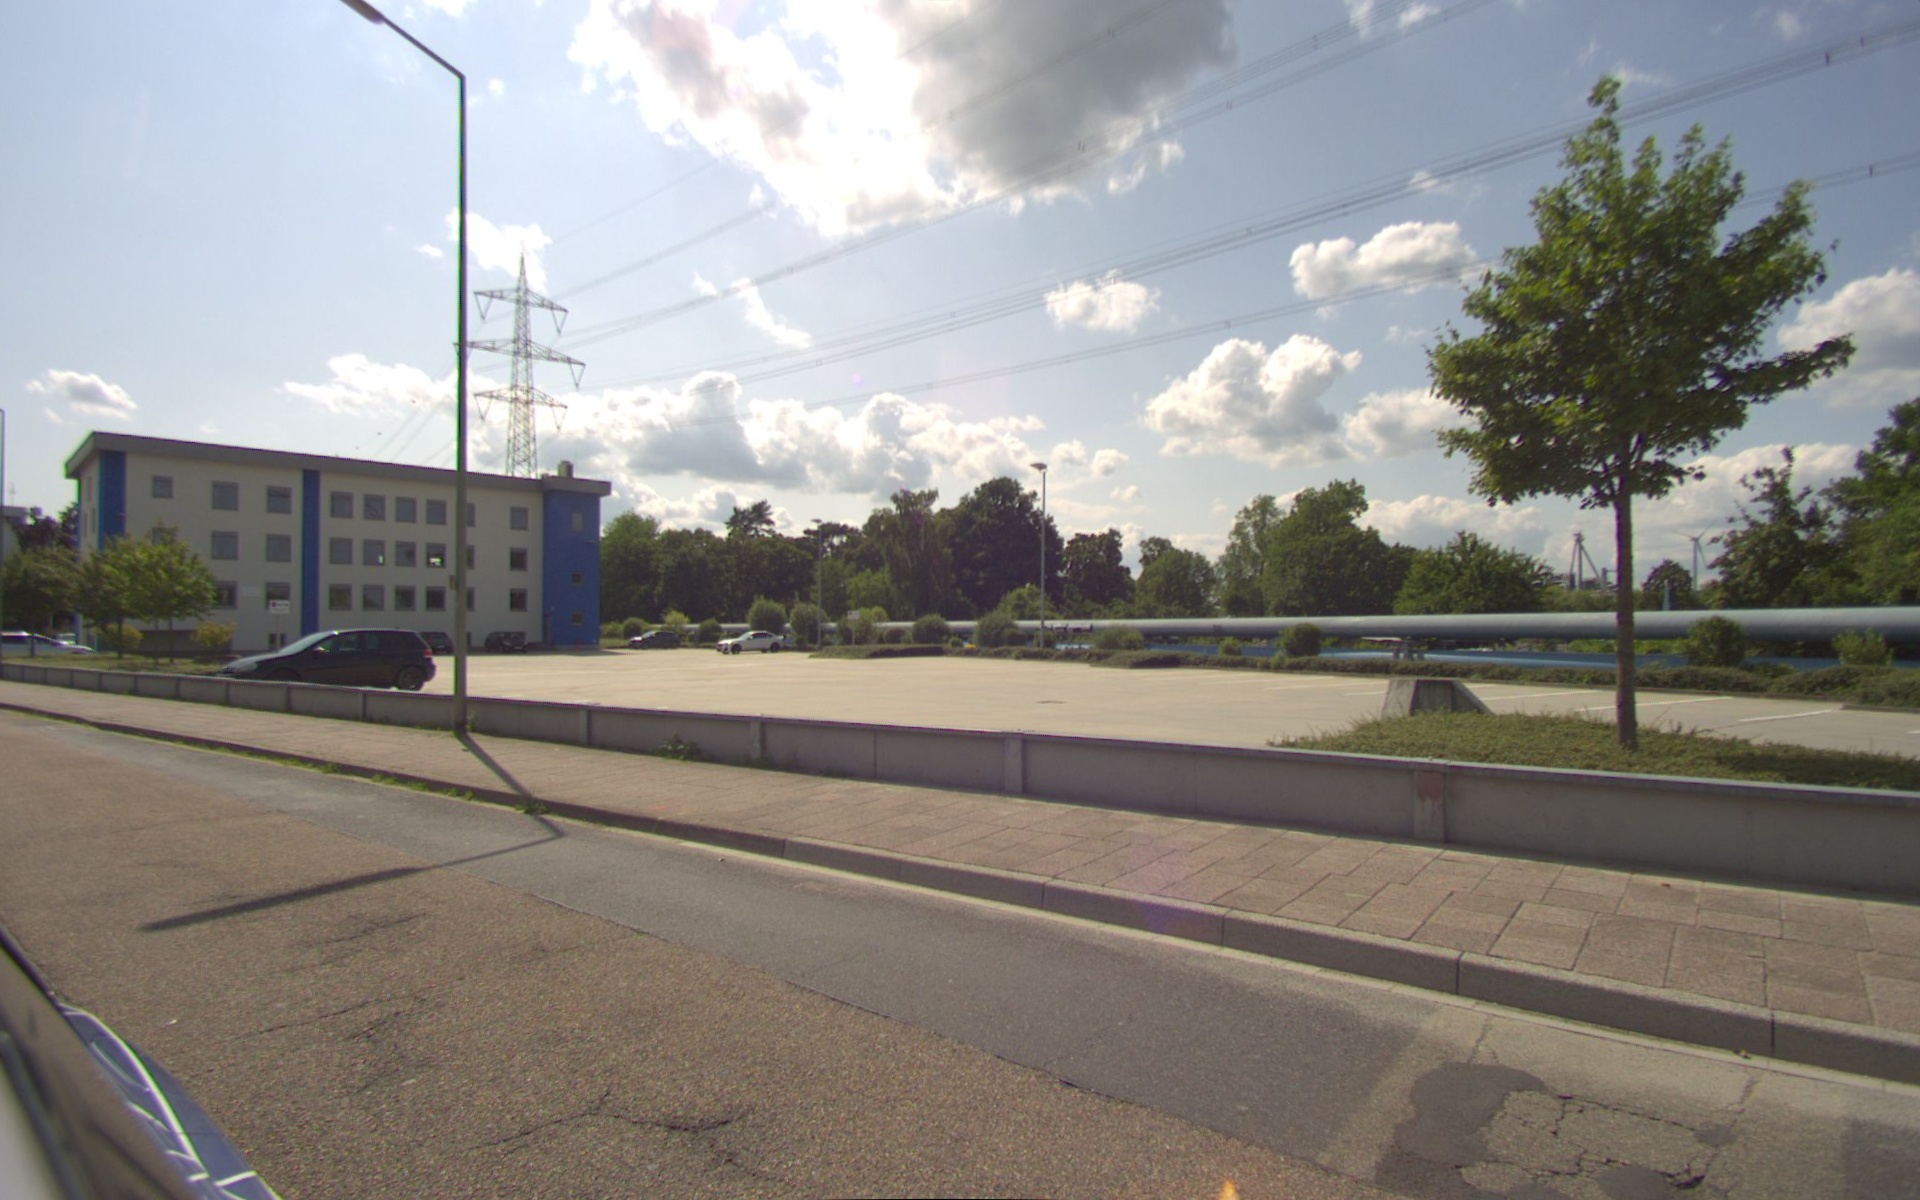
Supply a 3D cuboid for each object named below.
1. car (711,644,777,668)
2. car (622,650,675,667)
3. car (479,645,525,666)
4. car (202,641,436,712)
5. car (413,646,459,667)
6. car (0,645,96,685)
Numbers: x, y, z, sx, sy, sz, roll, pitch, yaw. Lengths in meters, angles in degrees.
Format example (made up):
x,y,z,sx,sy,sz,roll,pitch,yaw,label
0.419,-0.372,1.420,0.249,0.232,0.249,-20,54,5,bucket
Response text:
x,y,z,sx,sy,sz,roll,pitch,yaw,label
-13.987,3.581,65.509,3.765,1.485,1.807,2,-3,-39,car
-24.446,4.604,79.372,3.556,1.261,1.805,2,-3,-44,car
-31.690,3.834,70.008,3.679,1.386,1.545,-2,-3,42,car
-13.930,1.617,22.188,1.801,1.386,3.949,-2,-3,37,car
-35.037,3.756,67.675,3.679,1.386,1.545,-2,-3,42,car
-40.498,2.807,43.578,1.997,1.615,4.709,-2,-2,38,car
